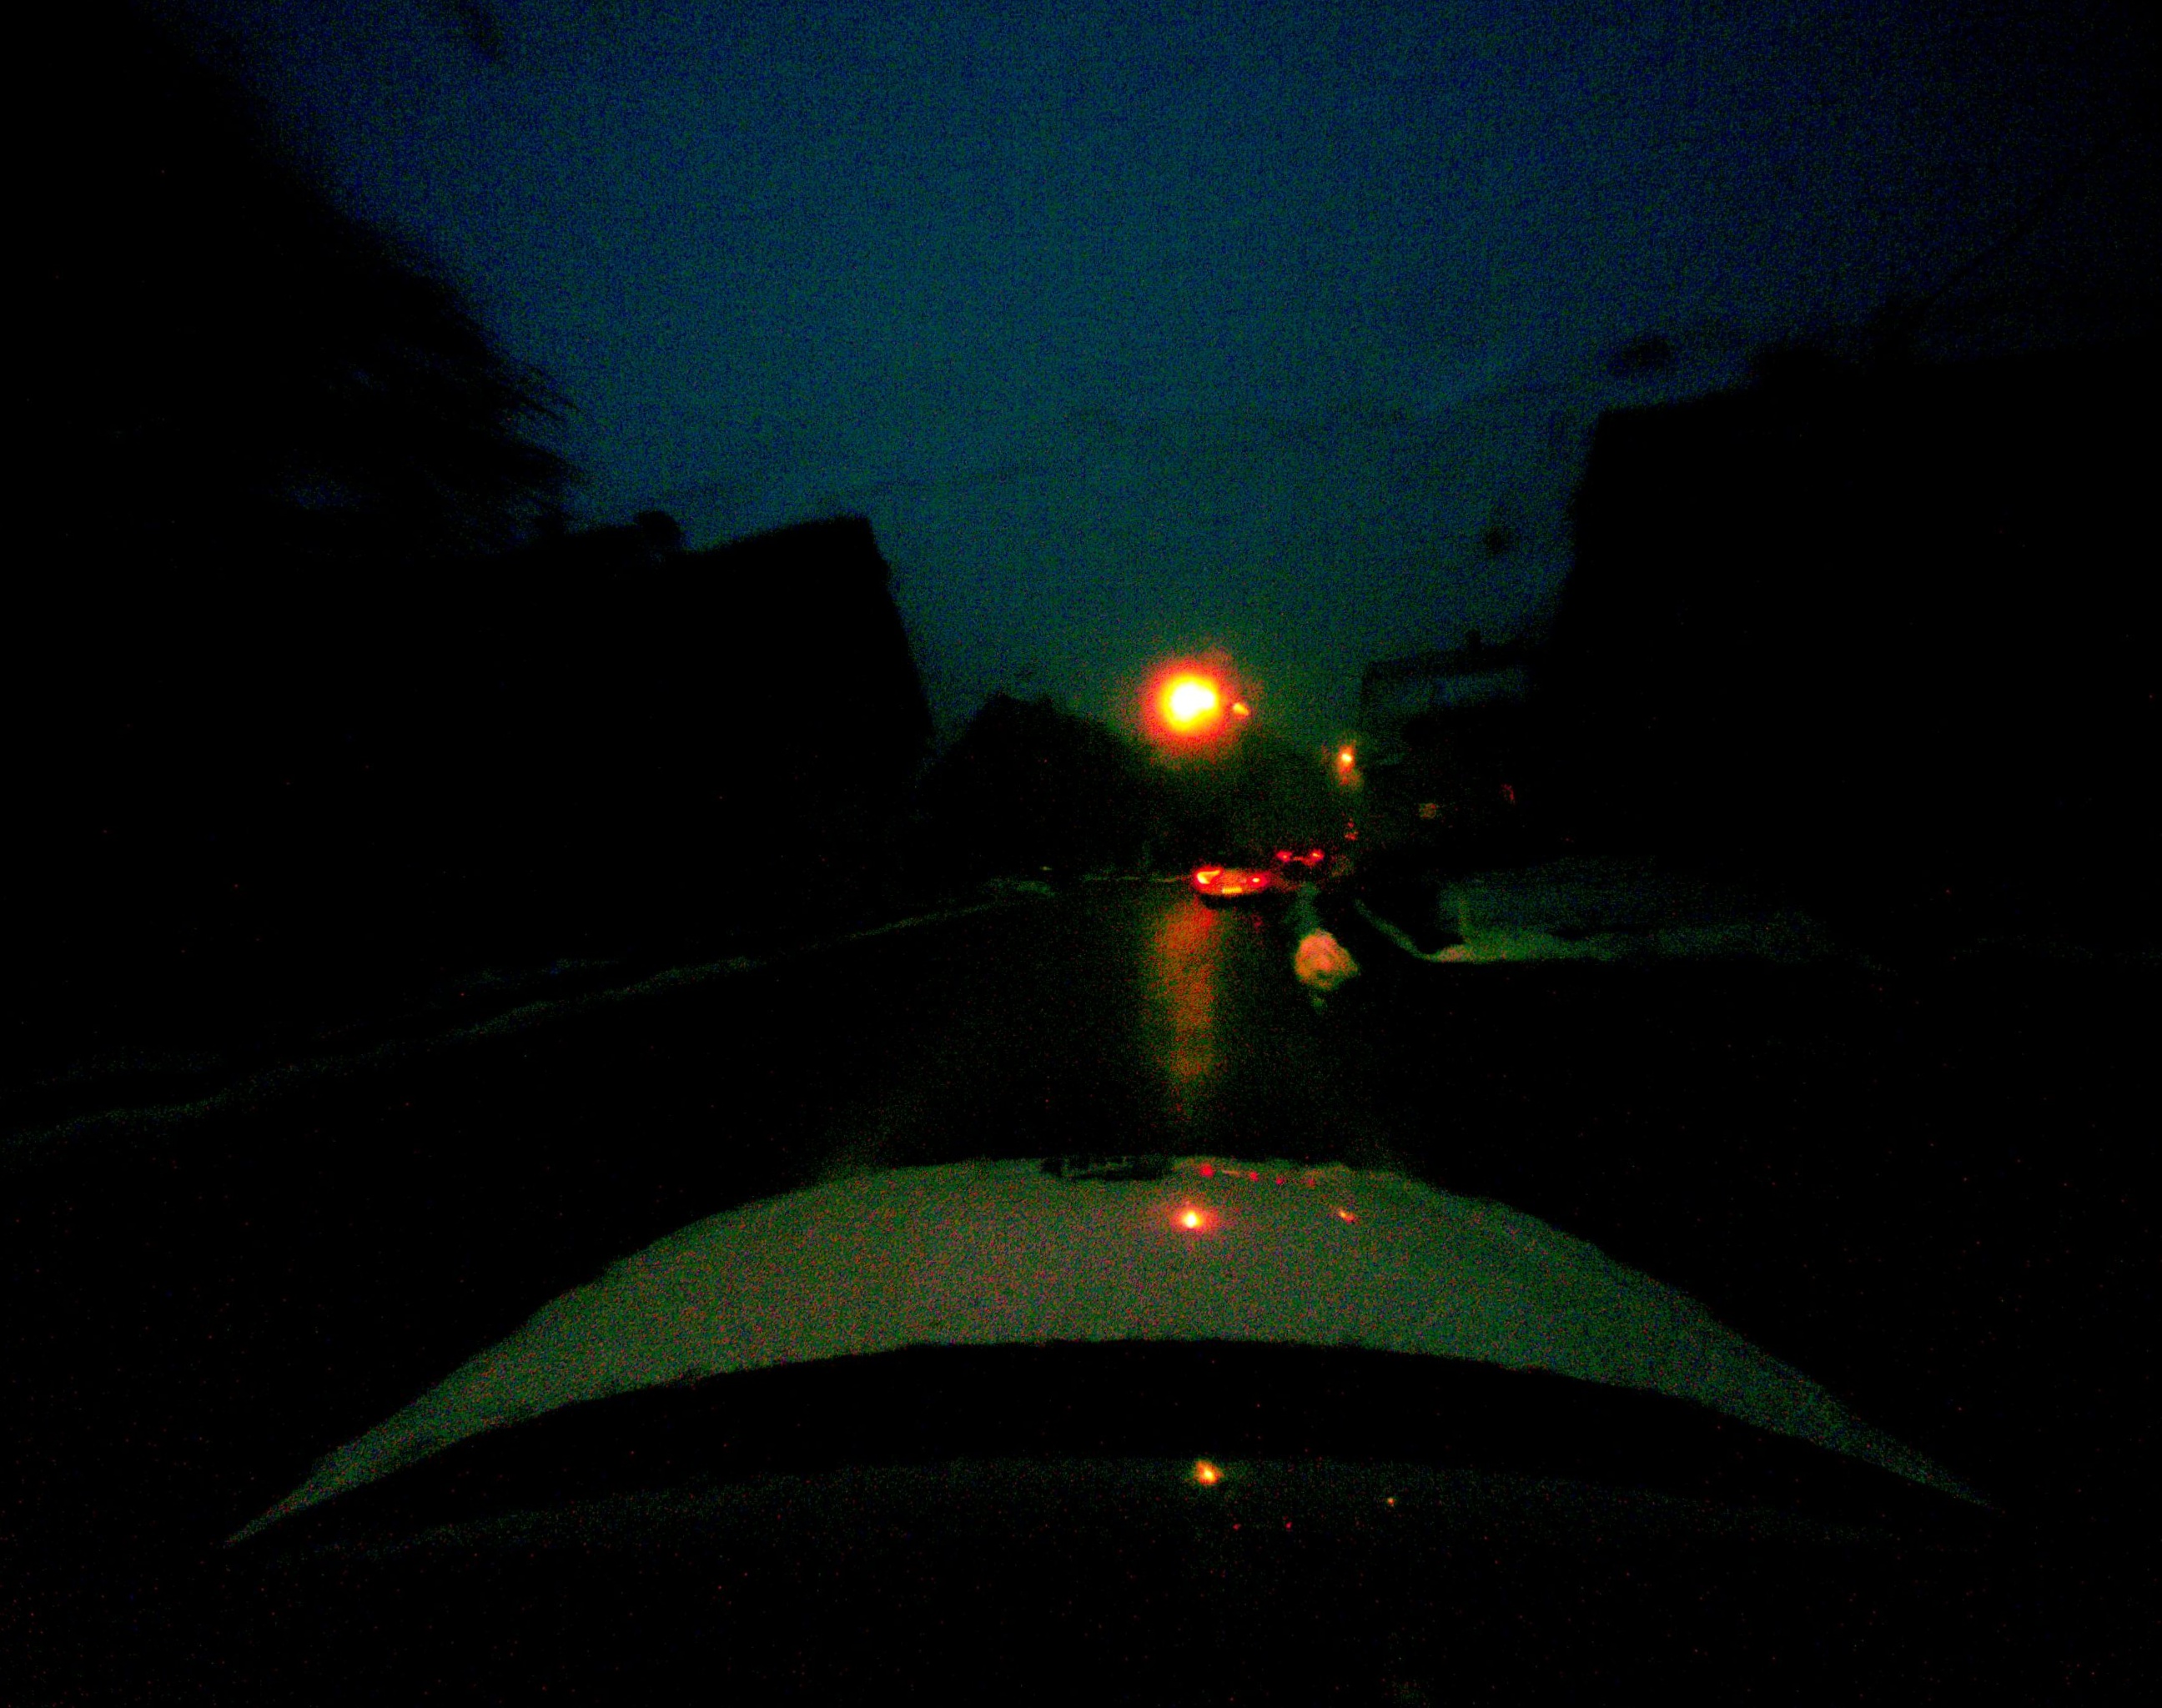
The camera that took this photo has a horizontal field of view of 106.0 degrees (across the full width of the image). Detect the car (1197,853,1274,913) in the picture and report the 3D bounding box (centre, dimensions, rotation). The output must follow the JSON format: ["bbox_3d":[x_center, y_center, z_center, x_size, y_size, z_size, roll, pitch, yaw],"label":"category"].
[{"bbox_3d":[4.527,0.776,23.479,1.632,1.596,3.717,-1,0,19],"label":"car"}]

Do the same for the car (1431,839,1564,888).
[{"bbox_3d":[14.240,0.291,28.087,3.951,1.596,1.922,1,0,24],"label":"car"}]

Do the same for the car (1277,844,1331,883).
[{"bbox_3d":[9.812,0.416,35.660,1.630,1.596,3.721,-1,0,25],"label":"car"}]

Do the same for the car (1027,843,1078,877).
[{"bbox_3d":[-1.253,0.284,37.504,1.865,1.504,4.005,0,-1,4],"label":"car"}]
